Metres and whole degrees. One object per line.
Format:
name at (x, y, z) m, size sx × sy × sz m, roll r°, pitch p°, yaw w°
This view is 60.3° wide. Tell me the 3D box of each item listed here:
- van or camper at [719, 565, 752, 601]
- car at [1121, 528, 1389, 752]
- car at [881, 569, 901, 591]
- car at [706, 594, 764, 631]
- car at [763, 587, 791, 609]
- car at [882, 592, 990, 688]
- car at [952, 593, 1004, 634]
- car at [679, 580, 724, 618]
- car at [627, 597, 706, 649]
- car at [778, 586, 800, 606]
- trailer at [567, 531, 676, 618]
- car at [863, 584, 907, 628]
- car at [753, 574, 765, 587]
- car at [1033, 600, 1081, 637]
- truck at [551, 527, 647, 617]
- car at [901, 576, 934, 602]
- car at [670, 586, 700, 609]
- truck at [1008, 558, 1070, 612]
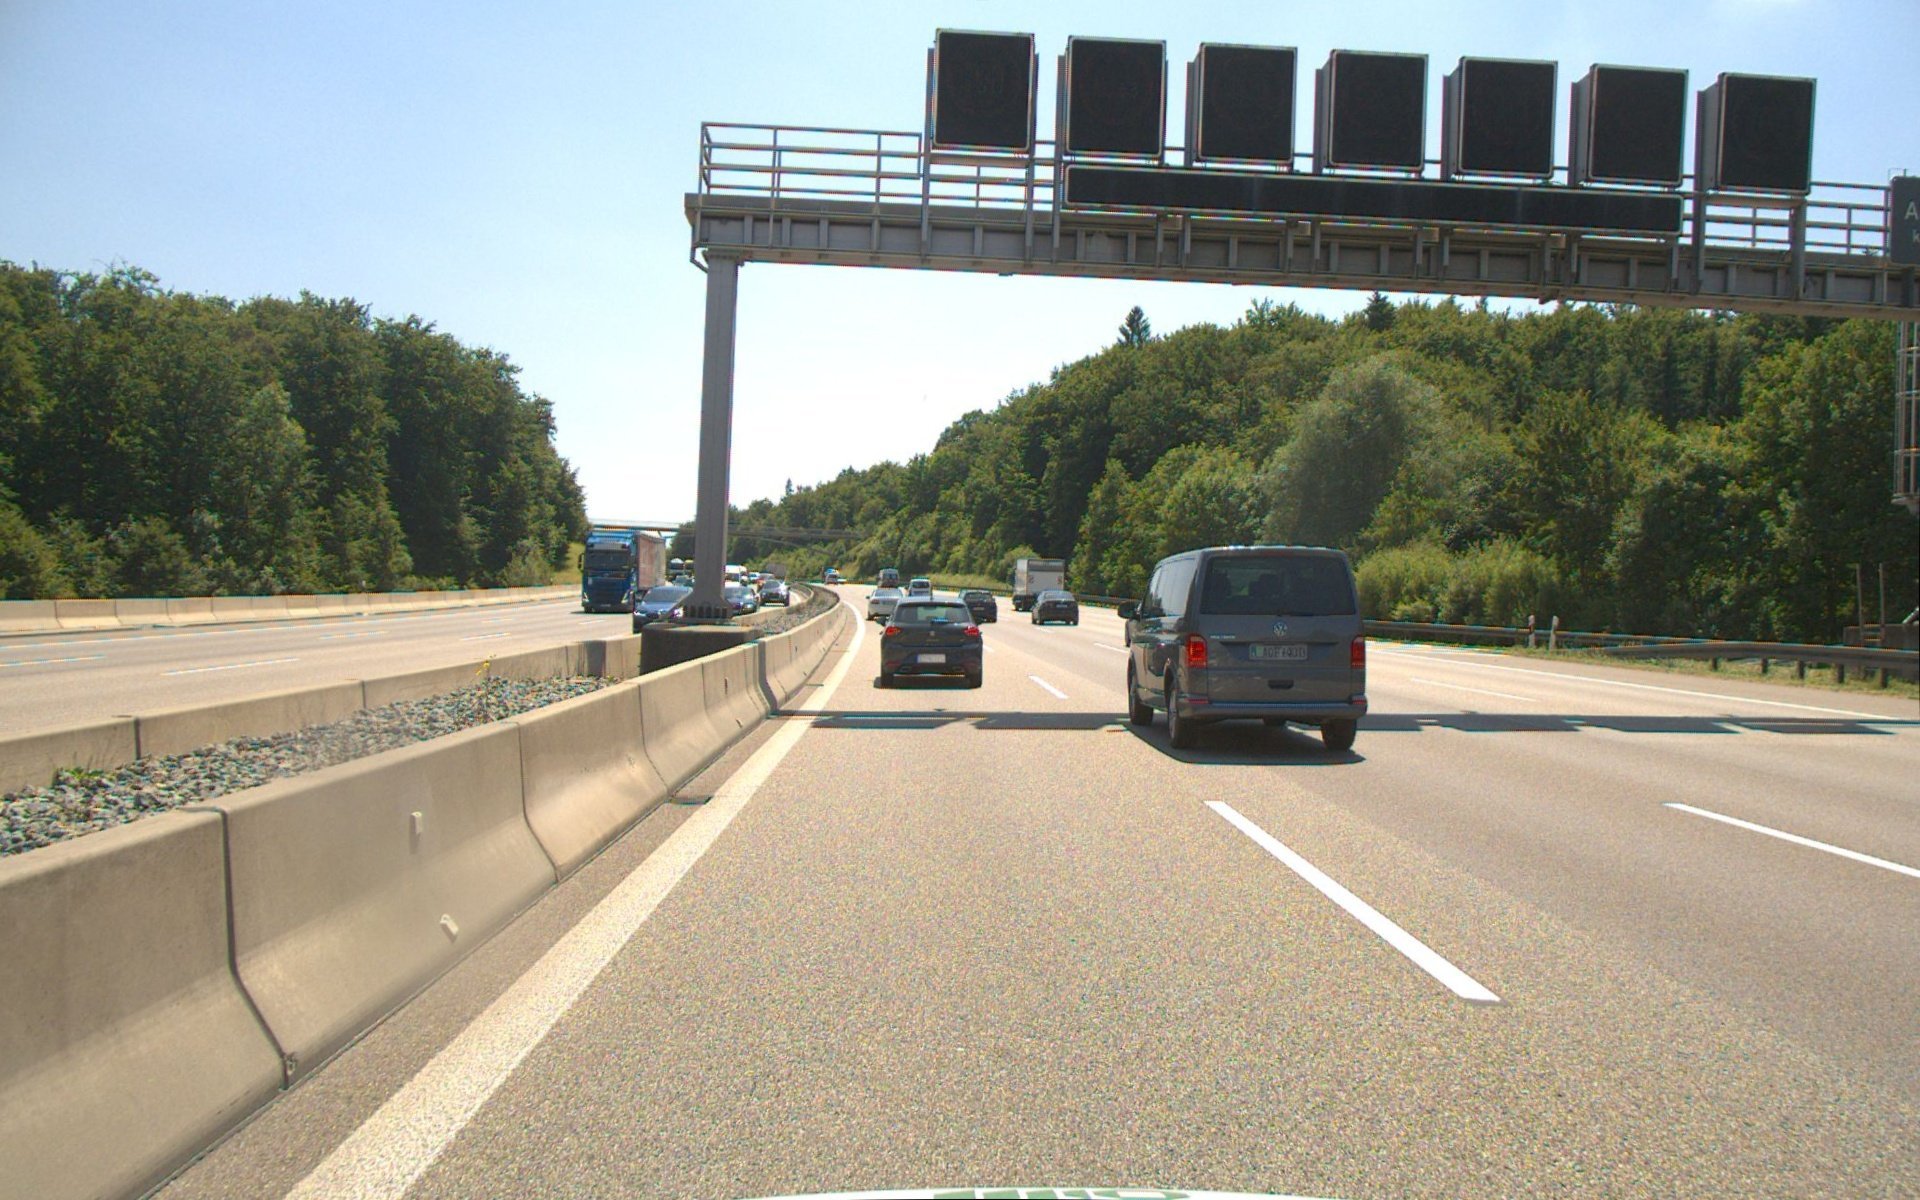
van or camper at (-17.095, -1.293, 126.091) m, size 2.058 × 2.611 × 6.395 m, roll 1°, pitch 0°, yaw -4°
car at (2.996, 0.370, 17.950) m, size 1.923 × 2.069 × 5.082 m, roll 1°, pitch 0°, yaw -1°
car at (-7.999, -2.289, 192.330) m, size 2.219 × 2.413 × 4.699 m, roll 1°, pitch 0°, yaw -2°
car at (-9.604, 0.507, 70.894) m, size 1.917 × 1.545 × 5.131 m, roll 1°, pitch 0°, yaw -2°
car at (-11.876, -0.132, 107.344) m, size 1.608 × 1.373 × 3.997 m, roll 2°, pitch 0°, yaw -4°
car at (-0.437, 0.620, 28.160) m, size 1.673 × 1.458 × 3.999 m, roll 1°, pitch 1°, yaw -2°
car at (0.777, 0.618, 74.759) m, size 1.955 × 1.758 × 4.144 m, roll 1°, pitch -1°, yaw -5°
car at (-14.293, -0.078, 91.681) m, size 1.954 × 2.001 × 4.780 m, roll 1°, pitch 0°, yaw -3°
car at (-9.204, 0.732, 52.203) m, size 1.816 × 1.545 × 4.519 m, roll 1°, pitch -1°, yaw -2°
car at (-17.691, -0.404, 171.353) m, size 2.192 × 2.049 × 4.225 m, roll 0°, pitch 0°, yaw -5°
trailer at (-18.590, -1.300, 91.961) m, size 3.759 × 4.355 × 14.466 m, roll 2°, pitch 0°, yaw -3°
car at (-3.453, 0.309, 76.746) m, size 1.972 × 1.878 × 3.997 m, roll 1°, pitch -3°, yaw -2°
car at (-30.505, -2.982, 251.349) m, size 1.784 × 1.904 × 4.582 m, roll 0°, pitch 1°, yaw -7°
car at (4.165, 0.772, 71.874) m, size 1.632 × 1.433 × 4.902 m, roll 1°, pitch 1°, yaw -2°
truck at (-18.044, -1.363, 83.091) m, size 3.711 × 4.250 × 5.875 m, roll 2°, pitch 0°, yaw -4°
car at (-3.115, -0.831, 120.639) m, size 2.062 × 1.774 × 4.683 m, roll 1°, pitch 1°, yaw -5°
car at (-21.598, -0.186, 130.092) m, size 1.955 × 1.793 × 5.063 m, roll 1°, pitch 0°, yaw -5°
truck at (4.941, -0.982, 105.037) m, size 2.927 × 3.222 × 7.568 m, roll 1°, pitch 1°, yaw -5°
